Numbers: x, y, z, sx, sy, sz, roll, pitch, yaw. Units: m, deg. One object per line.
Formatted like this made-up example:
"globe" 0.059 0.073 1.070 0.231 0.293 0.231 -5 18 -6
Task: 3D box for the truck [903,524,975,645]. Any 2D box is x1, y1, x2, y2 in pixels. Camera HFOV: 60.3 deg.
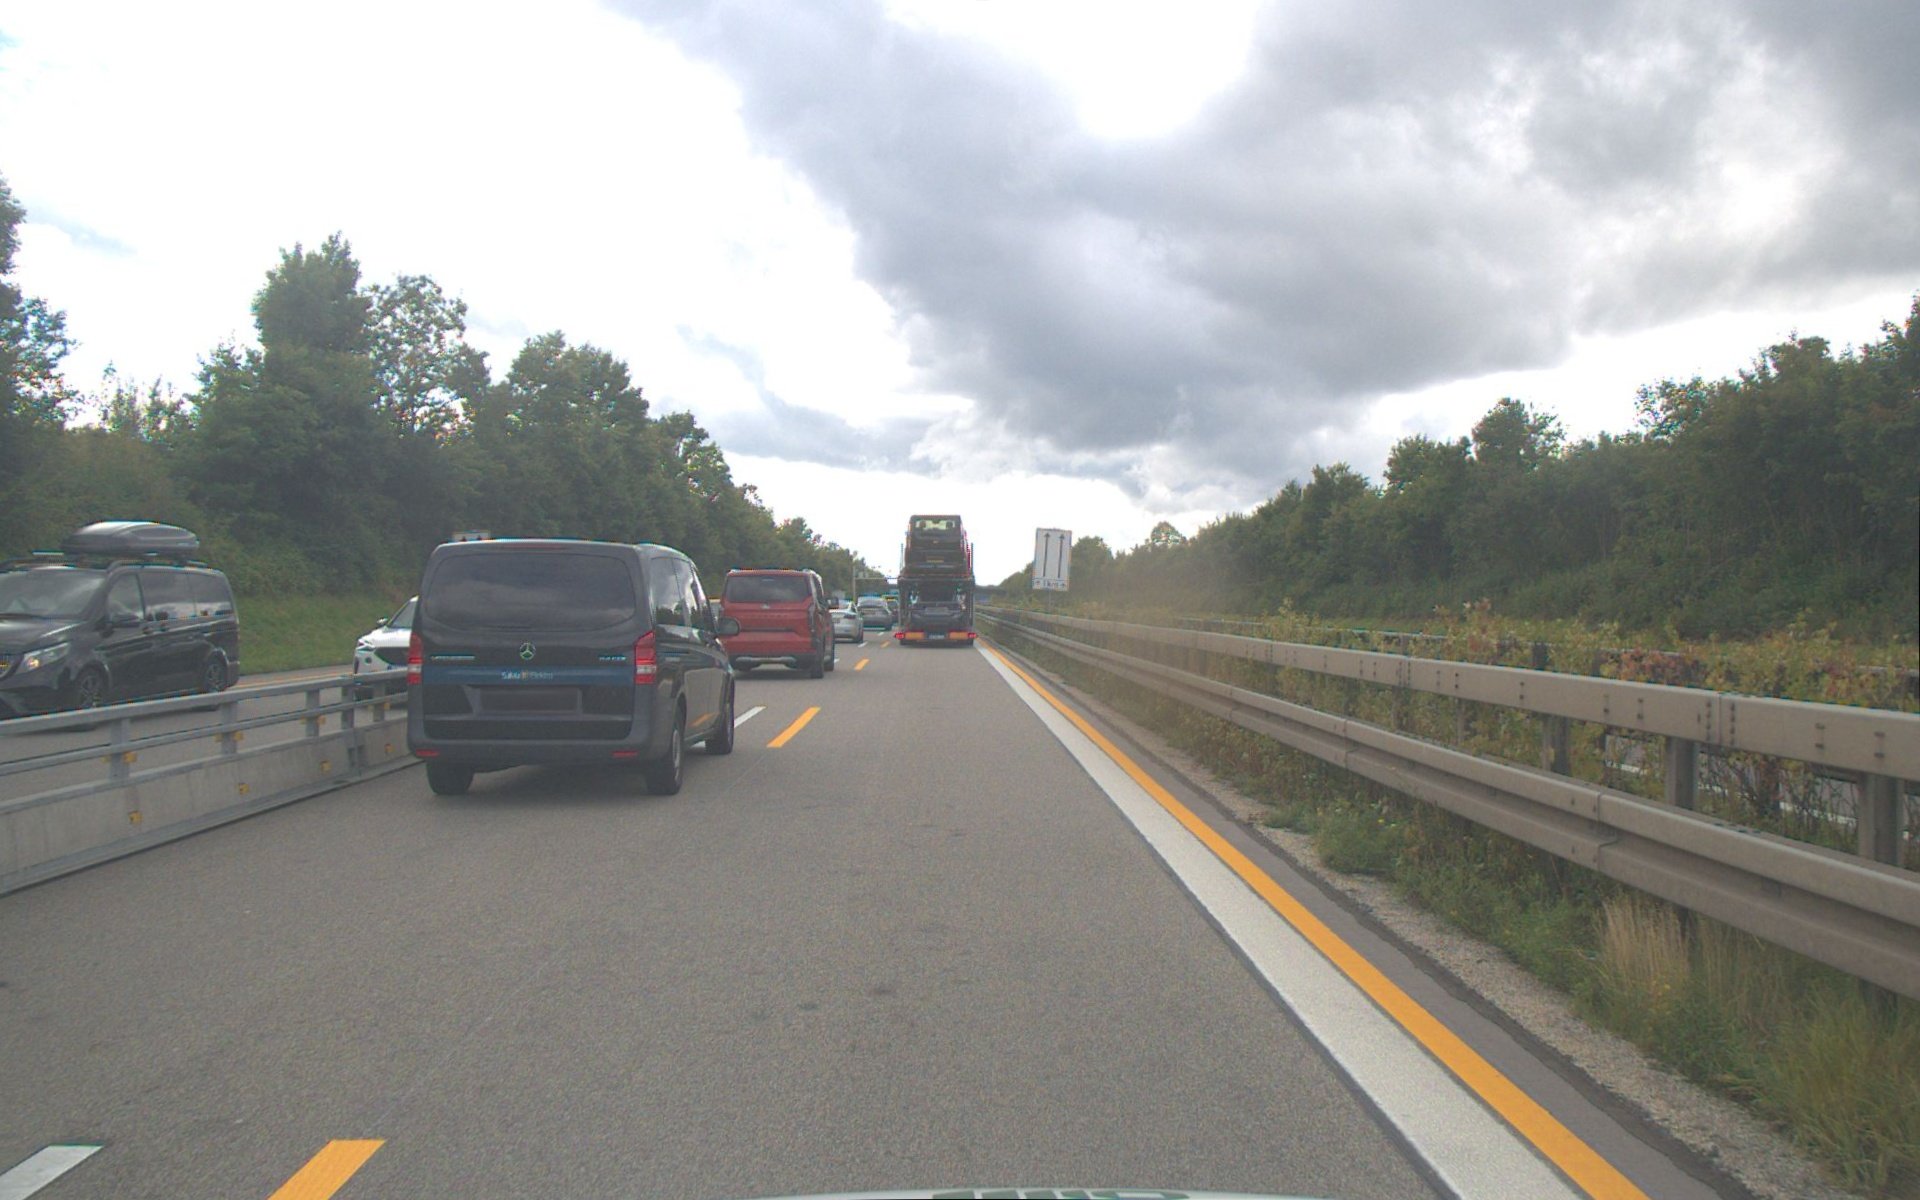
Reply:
"truck" -0.747 -0.525 60.318 2.464 4.177 5.684 0 0 0

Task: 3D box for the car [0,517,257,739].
"car" -10.318 0.287 19.625 1.953 2.292 5.047 1 0 -2

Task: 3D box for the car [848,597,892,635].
"car" -4.349 0.761 80.492 1.990 1.788 4.576 0 0 -2

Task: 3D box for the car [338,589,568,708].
"car" -7.142 0.632 23.839 1.953 1.547 4.668 0 0 -1

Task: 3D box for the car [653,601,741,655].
"car" -7.859 0.794 49.835 1.953 1.547 4.952 0 0 -1

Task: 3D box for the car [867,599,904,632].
"car" -4.122 0.831 92.380 1.990 1.788 4.576 0 0 -2

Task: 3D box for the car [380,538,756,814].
"car" -3.019 0.524 14.107 1.953 1.875 5.608 0 0 -1

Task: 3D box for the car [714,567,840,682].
"car" -3.419 0.441 31.726 1.990 2.049 4.577 0 0 -1

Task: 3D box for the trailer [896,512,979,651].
"trailer" -0.717 -0.548 55.581 2.464 4.177 11.111 0 0 0

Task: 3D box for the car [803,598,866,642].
"car" -4.337 0.686 57.883 1.990 1.456 4.576 0 0 -2
